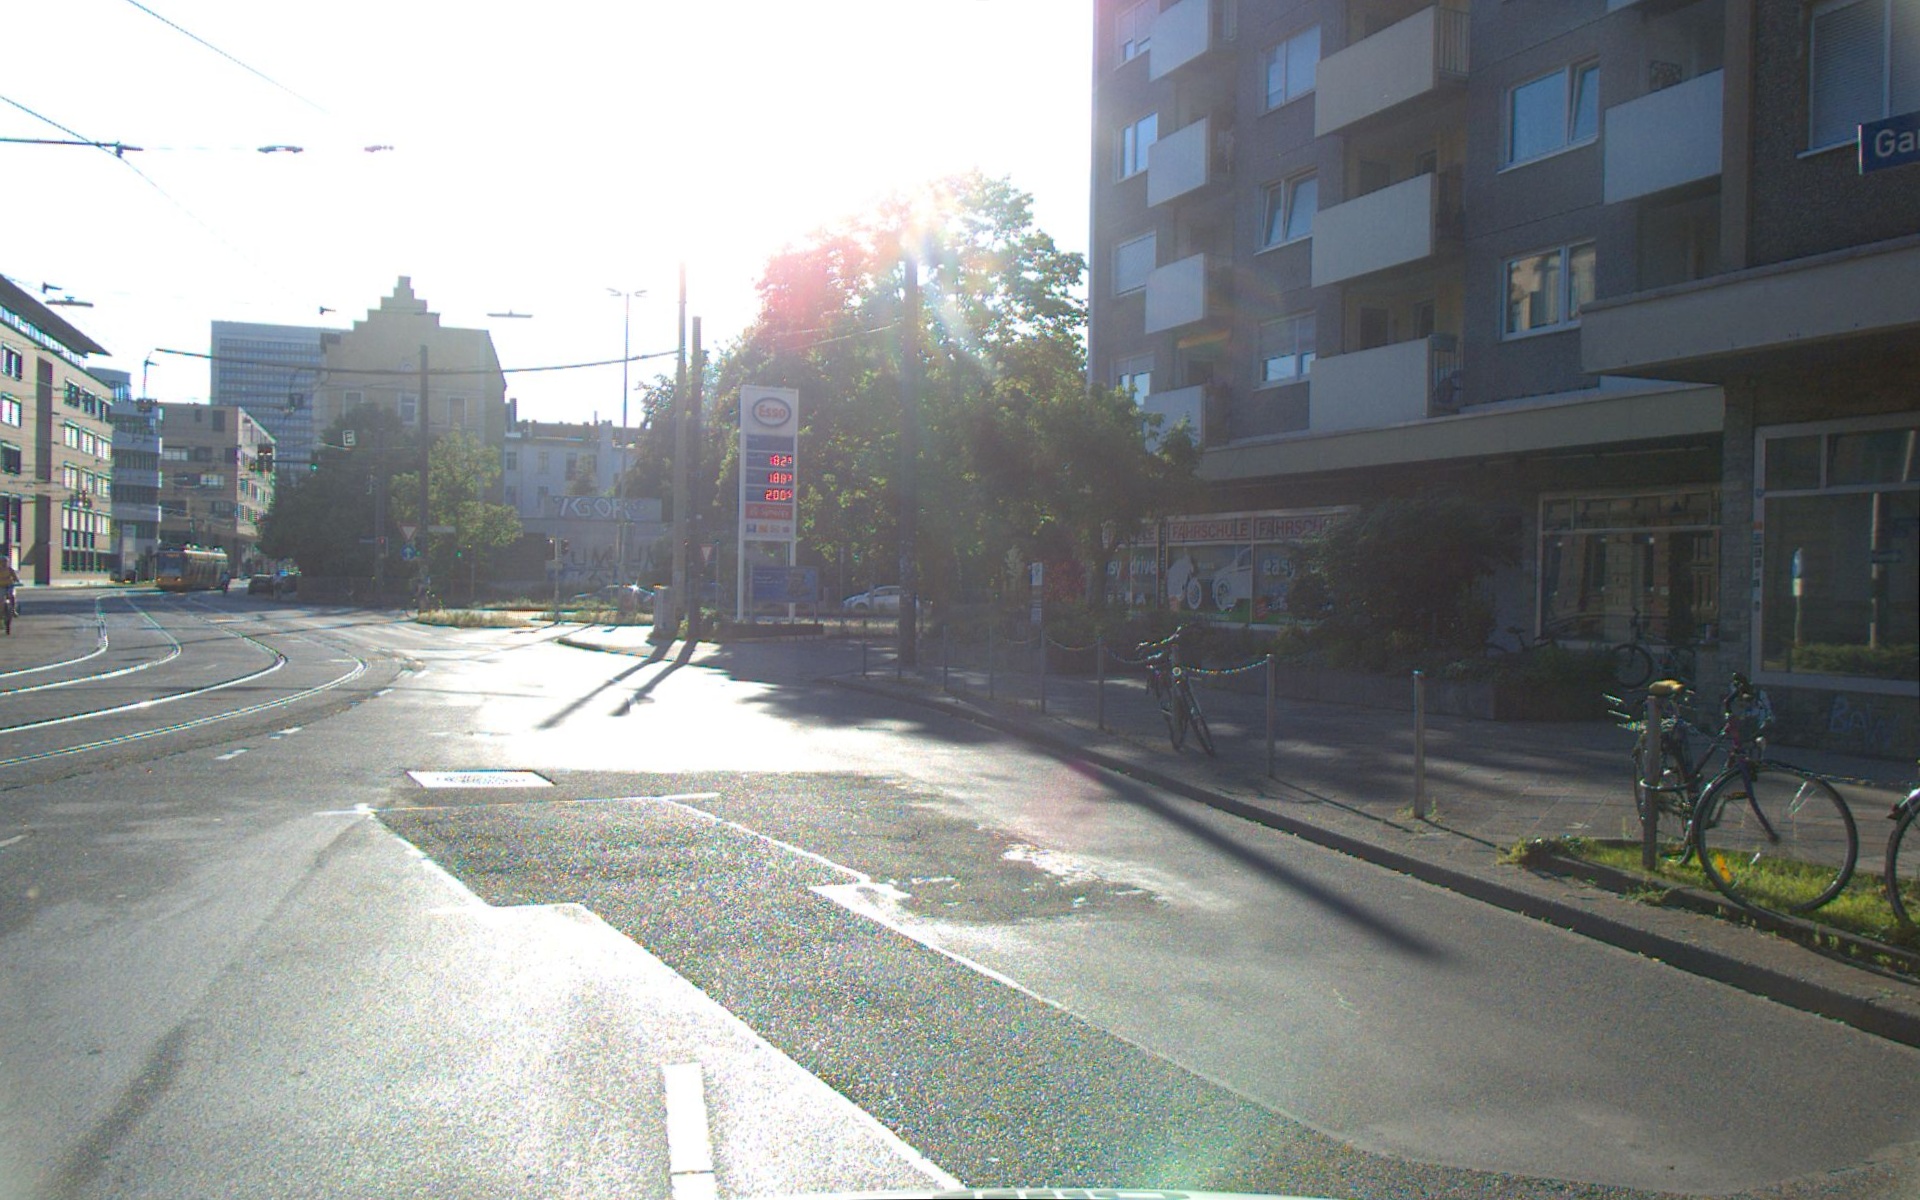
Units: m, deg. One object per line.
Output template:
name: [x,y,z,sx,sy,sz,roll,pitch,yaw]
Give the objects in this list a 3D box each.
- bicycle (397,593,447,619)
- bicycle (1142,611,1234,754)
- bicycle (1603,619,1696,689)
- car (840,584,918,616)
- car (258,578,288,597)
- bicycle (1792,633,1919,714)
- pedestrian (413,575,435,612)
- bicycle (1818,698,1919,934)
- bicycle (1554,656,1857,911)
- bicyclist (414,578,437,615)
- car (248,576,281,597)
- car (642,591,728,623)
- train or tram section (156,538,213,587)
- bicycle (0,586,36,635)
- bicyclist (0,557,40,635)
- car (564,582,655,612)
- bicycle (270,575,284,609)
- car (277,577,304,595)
bicycle: [-21.135,0.254,64.973,1.808,1.002,0.729,1,0,-23]
bicycle: [2.148,0.742,15.780,0.625,1.247,2.088,1,0,1]
bicycle: [9.935,0.769,23.874,0.426,0.959,1.315,1,0,-23]
car: [-4.141,0.004,84.194,3.910,1.534,1.670,1,0,-6]
car: [-54.324,-0.998,130.827,1.964,1.512,3.977,0,0,-19]
bicycle: [11.206,0.891,20.447,0.633,0.914,1.640,1,0,-23]
pedestrian: [-25.105,-0.296,77.439,0.912,1.721,0.773,1,0,-20]
bicycle: [4.249,0.904,6.496,0.533,0.920,1.729,1,0,-15]
bicycle: [3.674,0.846,8.364,0.625,1.040,2.088,1,0,1]
bicyclist: [-21.002,-0.136,65.021,0.793,1.438,0.620,1,-1,-23]
car: [-50.849,-1.010,120.936,1.964,1.489,3.977,0,0,-19]
car: [-13.133,0.318,79.118,3.909,1.478,1.808,1,0,-5]
train or tram section: [-60.463,-2.824,129.244,2.206,3.637,14.204,1,0,-18]
bicycle: [-23.652,0.257,41.356,0.872,1.176,2.303,1,0,-28]
bicyclist: [-23.724,-0.095,41.549,1.017,1.924,1.102,1,-1,-29]
car: [-18.347,-0.148,86.811,4.384,1.513,1.780,1,0,-1]
bicycle: [-36.982,-0.453,89.575,0.559,1.838,1.345,0,0,-29]
car: [-58.820,-1.255,145.302,1.964,1.512,3.977,0,0,-19]
